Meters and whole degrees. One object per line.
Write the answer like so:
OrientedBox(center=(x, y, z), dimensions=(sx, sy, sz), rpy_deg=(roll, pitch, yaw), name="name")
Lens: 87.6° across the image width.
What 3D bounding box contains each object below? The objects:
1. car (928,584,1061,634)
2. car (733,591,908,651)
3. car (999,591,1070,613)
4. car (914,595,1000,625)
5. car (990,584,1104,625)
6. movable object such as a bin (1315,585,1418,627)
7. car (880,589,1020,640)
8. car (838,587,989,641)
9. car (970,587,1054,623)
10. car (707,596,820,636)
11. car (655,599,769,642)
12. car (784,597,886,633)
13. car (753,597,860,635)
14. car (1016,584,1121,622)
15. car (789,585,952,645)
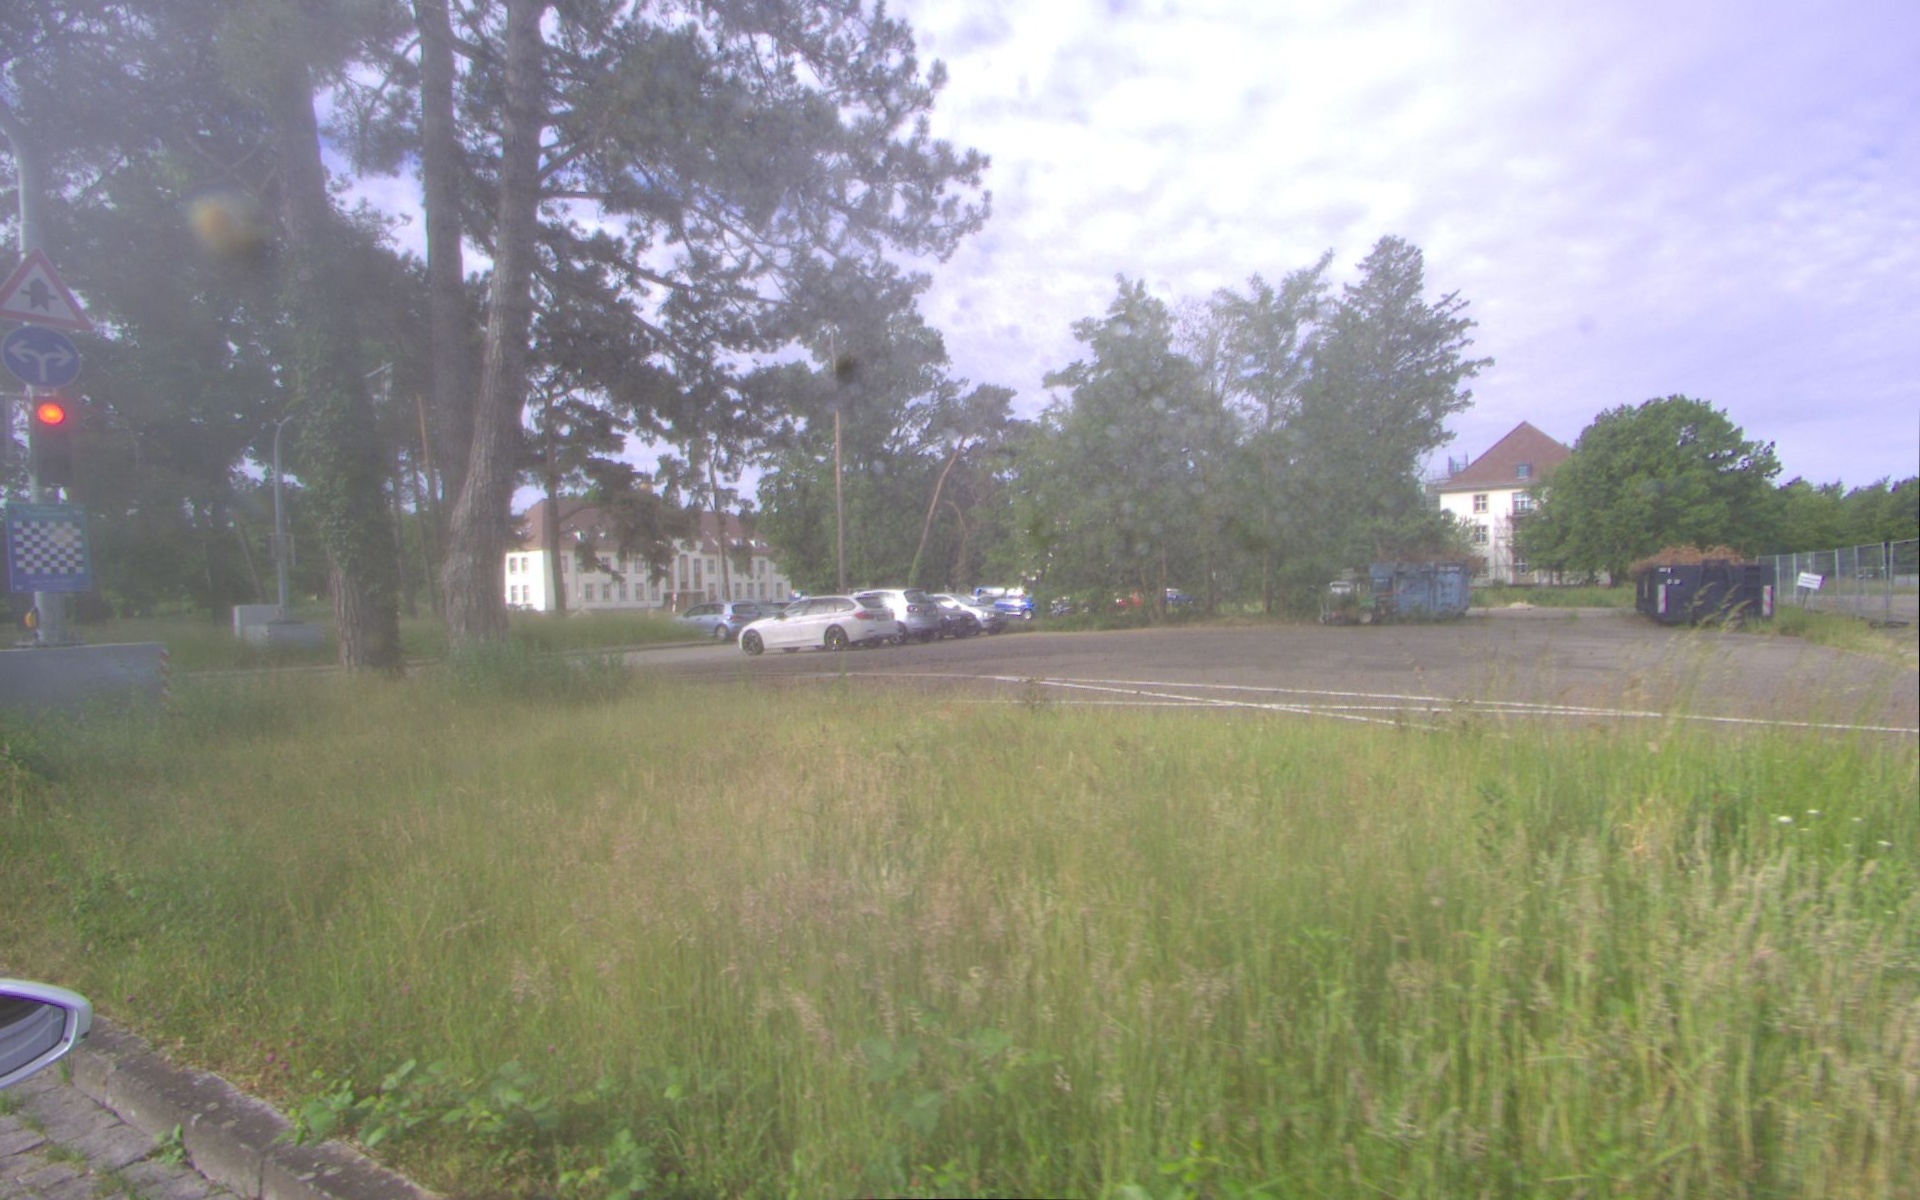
OrientedBox(center=(1.219, 0.323, 35.927), dimensions=(4.380, 1.709, 1.864), rpy_deg=(-1, 1, 29), name="car")
OrientedBox(center=(-3.713, 0.574, 26.509), dimensions=(4.380, 1.434, 1.750), rpy_deg=(-2, 0, 29), name="car")
OrientedBox(center=(4.496, 0.145, 60.723), dimensions=(3.941, 1.226, 1.654), rpy_deg=(-1, 1, 31), name="car")
OrientedBox(center=(-0.166, 0.528, 54.498), dimensions=(4.380, 1.544, 1.750), rpy_deg=(-1, 1, 29), name="car")
OrientedBox(center=(3.641, 0.186, 41.882), dimensions=(4.380, 1.598, 1.864), rpy_deg=(-1, 1, 29), name="car")
OrientedBox(center=(11.215, 0.137, 27.638), dimensions=(2.505, 1.098, 1.060), rpy_deg=(0, 2, 31), name="movable object such as a bin")
OrientedBox(center=(-0.366, 0.489, 33.901), dimensions=(4.380, 1.598, 1.864), rpy_deg=(-1, 1, 29), name="car")
OrientedBox(center=(-1.465, 0.436, 31.302), dimensions=(4.380, 1.598, 1.864), rpy_deg=(-1, 1, 29), name="car")
OrientedBox(center=(3.039, 0.304, 58.397), dimensions=(4.586, 1.994, 1.750), rpy_deg=(-1, 1, 29), name="car")
OrientedBox(center=(-8.003, 0.659, 40.640), dimensions=(4.379, 1.544, 1.750), rpy_deg=(-1, 1, 28), name="car")
OrientedBox(center=(-9.639, 0.798, 38.795), dimensions=(4.386, 1.544, 1.747), rpy_deg=(-1, 1, 33), name="car")
OrientedBox(center=(-5.695, 0.704, 45.445), dimensions=(4.380, 1.544, 1.750), rpy_deg=(-1, 1, 29), name="car")
OrientedBox(center=(-6.578, 0.680, 42.885), dimensions=(4.380, 1.544, 1.750), rpy_deg=(-1, 1, 29), name="car")
OrientedBox(center=(4.966, 0.150, 45.762), dimensions=(4.380, 1.598, 1.864), rpy_deg=(-1, 1, 29), name="car")
OrientedBox(center=(-2.594, 0.436, 28.849), dimensions=(4.380, 1.598, 1.864), rpy_deg=(-1, 1, 29), name="car")
